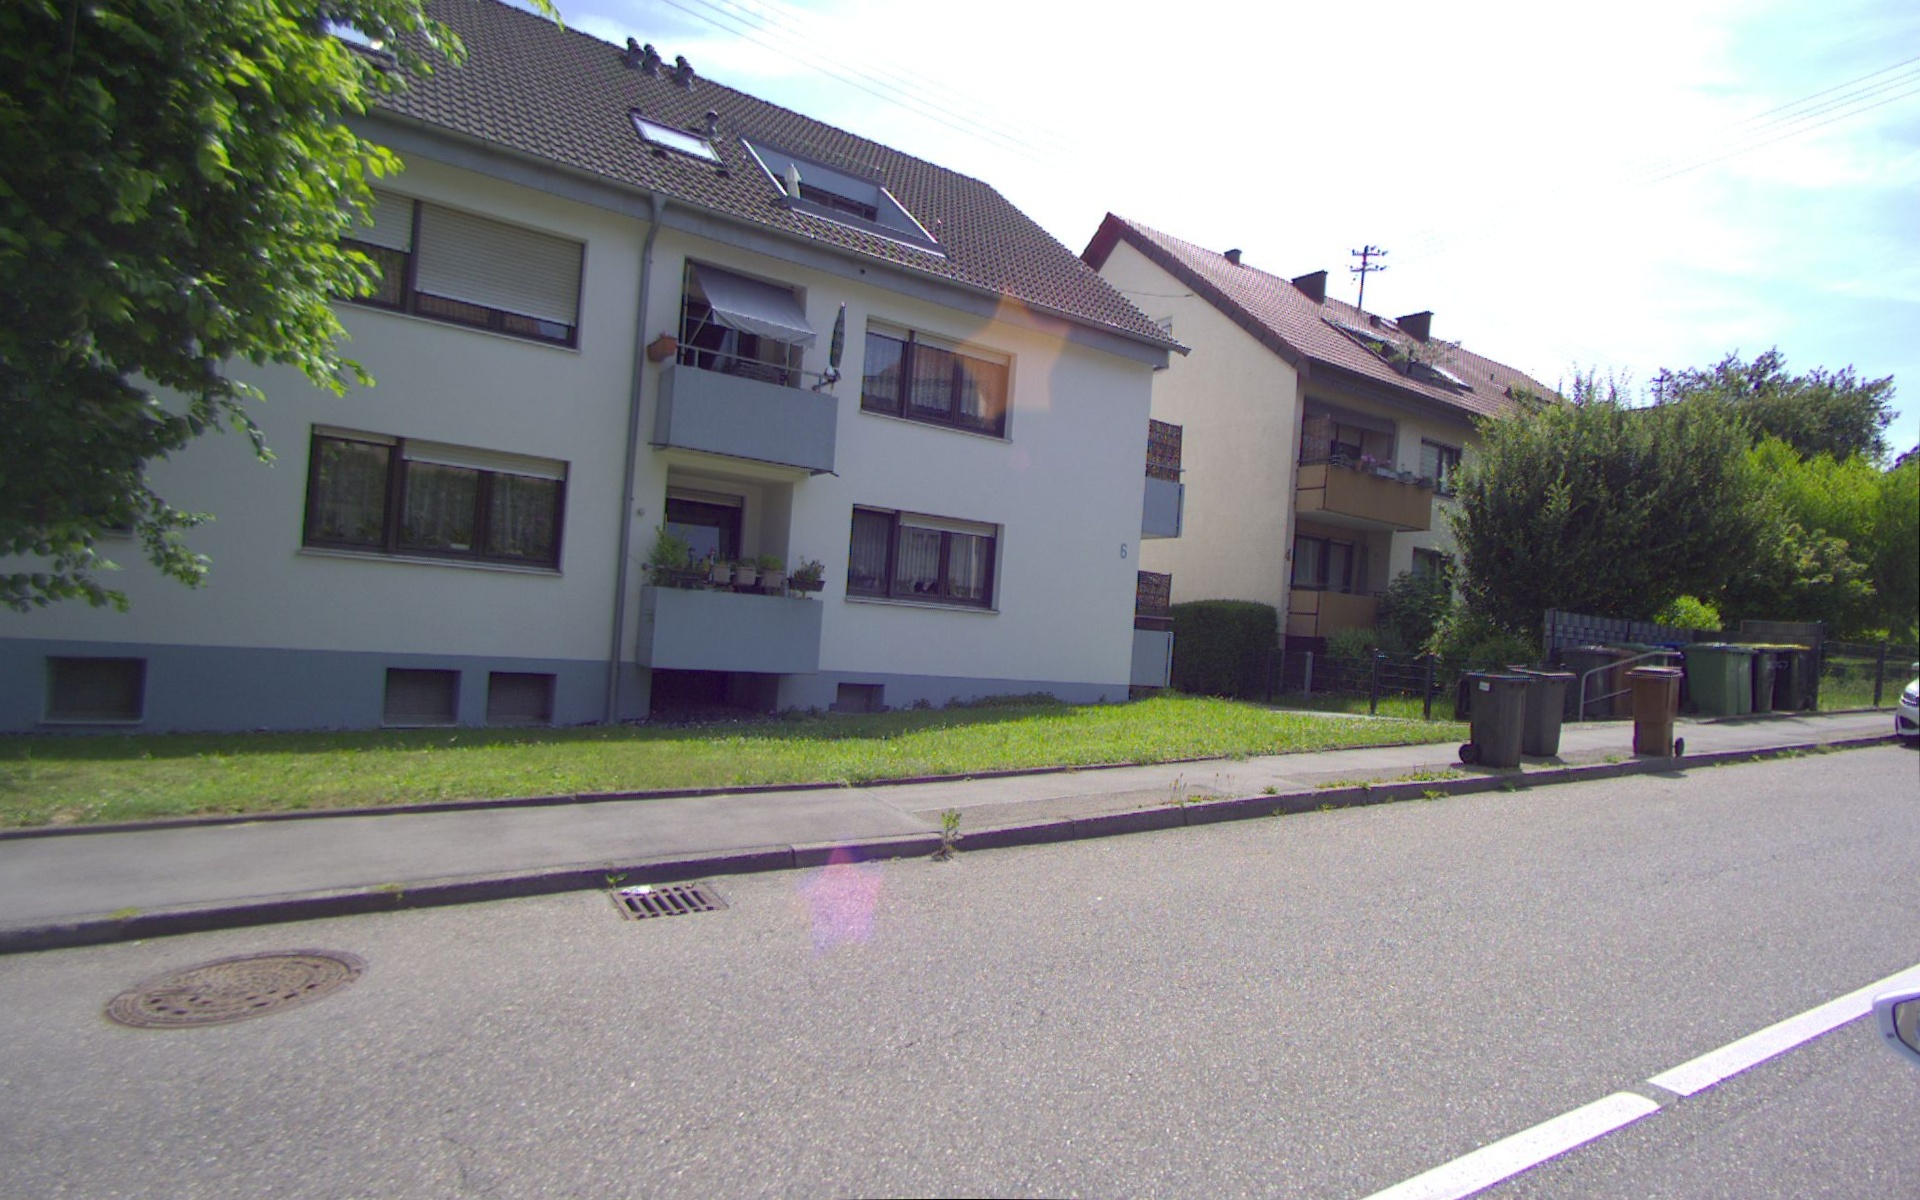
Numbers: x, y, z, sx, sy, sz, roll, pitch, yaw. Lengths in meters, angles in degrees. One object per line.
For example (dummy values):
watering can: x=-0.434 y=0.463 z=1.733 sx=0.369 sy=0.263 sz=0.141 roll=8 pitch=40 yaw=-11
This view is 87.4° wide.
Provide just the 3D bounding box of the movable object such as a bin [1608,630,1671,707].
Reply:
movable object such as a bin: x=11.048 y=1.111 z=16.334 sx=0.829 sy=1.193 sz=0.475 roll=3 pitch=0 yaw=-26

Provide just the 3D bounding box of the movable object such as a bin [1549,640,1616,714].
movable object such as a bin: x=9.705 y=1.197 z=15.667 sx=0.641 sy=1.111 sz=0.601 roll=3 pitch=0 yaw=-24

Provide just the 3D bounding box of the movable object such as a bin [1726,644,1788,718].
movable object such as a bin: x=12.615 y=1.279 z=15.904 sx=0.700 sy=1.119 sz=0.495 roll=3 pitch=-2 yaw=-24

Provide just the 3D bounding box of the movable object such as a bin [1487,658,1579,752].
movable object such as a bin: x=6.051 y=1.099 z=10.622 sx=0.634 sy=0.930 sz=0.562 roll=3 pitch=-1 yaw=-24

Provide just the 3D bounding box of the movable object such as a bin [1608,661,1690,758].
movable object such as a bin: x=7.543 y=1.183 z=11.000 sx=0.555 sy=1.001 sz=0.505 roll=3 pitch=-1 yaw=-24

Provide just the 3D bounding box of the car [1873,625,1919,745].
car: x=14.704 y=1.227 z=14.072 sx=4.198 sy=1.570 sz=1.800 roll=3 pitch=0 yaw=-33

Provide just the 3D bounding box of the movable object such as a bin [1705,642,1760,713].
movable object such as a bin: x=11.947 y=1.190 z=15.538 sx=0.553 sy=1.057 sz=0.454 roll=3 pitch=-2 yaw=-24

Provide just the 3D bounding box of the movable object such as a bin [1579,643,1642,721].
movable object such as a bin: x=10.348 y=1.298 z=15.976 sx=0.665 sy=1.193 sz=0.545 roll=3 pitch=0 yaw=-25

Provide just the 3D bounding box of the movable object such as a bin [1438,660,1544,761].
movable object such as a bin: x=5.248 y=1.079 z=9.942 sx=0.676 sy=0.930 sz=0.617 roll=3 pitch=-1 yaw=-24

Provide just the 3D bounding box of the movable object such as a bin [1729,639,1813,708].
movable object such as a bin: x=13.641 y=1.226 z=16.904 sx=0.687 sy=1.084 sz=0.895 roll=3 pitch=0 yaw=-30

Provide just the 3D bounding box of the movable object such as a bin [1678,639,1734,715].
movable object such as a bin: x=11.362 y=1.168 z=15.300 sx=0.524 sy=1.119 sz=0.514 roll=4 pitch=-3 yaw=-31
